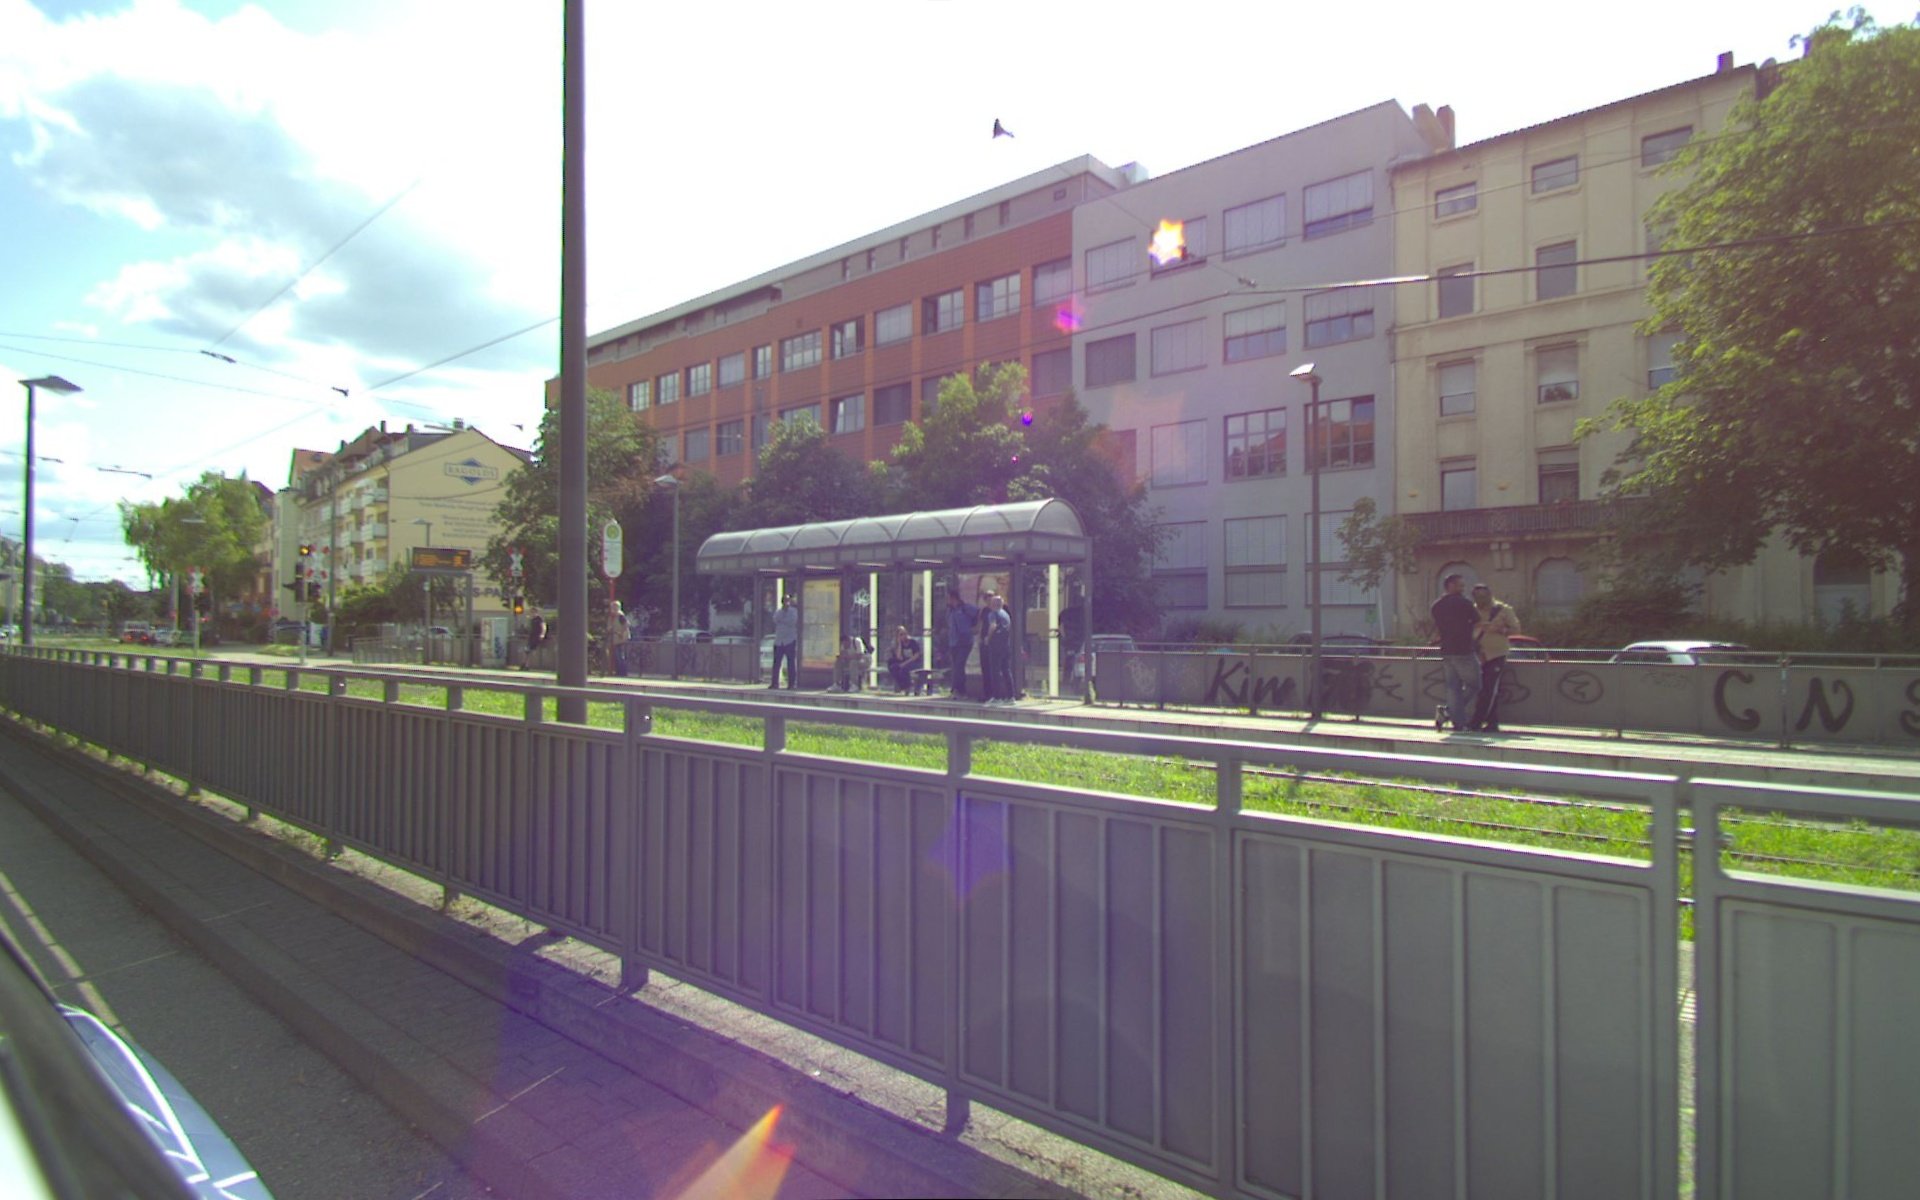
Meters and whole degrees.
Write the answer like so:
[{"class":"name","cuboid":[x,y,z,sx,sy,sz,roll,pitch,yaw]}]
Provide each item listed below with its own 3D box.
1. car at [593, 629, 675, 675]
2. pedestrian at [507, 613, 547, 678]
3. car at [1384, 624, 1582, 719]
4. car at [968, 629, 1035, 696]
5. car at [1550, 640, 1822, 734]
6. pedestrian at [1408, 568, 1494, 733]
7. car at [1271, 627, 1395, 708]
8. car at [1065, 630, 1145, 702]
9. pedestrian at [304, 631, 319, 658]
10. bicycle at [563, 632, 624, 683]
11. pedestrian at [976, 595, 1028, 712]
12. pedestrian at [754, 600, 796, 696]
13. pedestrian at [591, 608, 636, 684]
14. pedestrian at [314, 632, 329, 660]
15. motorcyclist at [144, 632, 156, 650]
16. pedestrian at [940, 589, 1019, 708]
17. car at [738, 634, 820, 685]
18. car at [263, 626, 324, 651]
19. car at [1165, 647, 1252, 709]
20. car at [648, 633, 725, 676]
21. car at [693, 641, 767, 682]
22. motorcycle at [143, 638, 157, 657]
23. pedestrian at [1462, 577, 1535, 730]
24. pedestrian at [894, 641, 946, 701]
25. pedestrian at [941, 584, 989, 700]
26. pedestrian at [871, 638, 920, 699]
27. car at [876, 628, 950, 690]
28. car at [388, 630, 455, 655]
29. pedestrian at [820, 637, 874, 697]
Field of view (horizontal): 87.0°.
[{"class":"car","cuboid":[-12.419,1.950,38.804,1.850,1.671,3.841,0,-2,1]},{"class":"pedestrian","cuboid":[-11.599,1.218,27.131,0.798,1.712,0.659,-1,-2,38]},{"class":"car","cuboid":[10.123,1.331,19.981,1.809,1.652,4.134,1,-2,1]},{"class":"car","cuboid":[1.183,1.624,27.327,1.651,1.540,3.994,-1,0,5]},{"class":"car","cuboid":[12.432,1.433,17.715,1.791,1.402,4.022,-1,-2,0]},{"class":"pedestrian","cuboid":[5.440,0.553,11.246,0.599,1.767,0.626,1,-2,-9]},{"class":"car","cuboid":[7.914,1.380,21.849,1.590,1.580,3.991,-1,-2,7]},{"class":"car","cuboid":[3.573,1.597,25.548,1.651,1.540,3.995,-1,0,4]},{"class":"pedestrian","cuboid":[-41.906,2.880,65.396,0.588,1.723,0.641,-2,-3,42]},{"class":"bicycle","cuboid":[-8.464,1.306,23.353,0.653,1.122,1.880,4,-4,-41]},{"class":"pedestrian","cuboid":[0.606,0.773,14.671,0.556,1.645,0.593,-2,-3,27]},{"class":"pedestrian","cuboid":[-3.434,0.877,18.820,0.623,1.739,0.481,-1,-2,38]},{"class":"pedestrian","cuboid":[-8.064,1.057,23.563,0.798,1.737,0.632,-1,-2,38]},{"class":"pedestrian","cuboid":[-39.408,2.821,62.445,0.481,1.723,0.641,-2,-3,42]},{"class":"motorcyclist","cuboid":[-65.772,3.318,82.179,0.693,1.368,0.654,-1,0,43]},{"class":"pedestrian","cuboid":[0.301,0.731,15.498,1.035,1.756,0.626,-1,-3,38]},{"class":"car","cuboid":[-5.829,1.891,32.866,1.568,1.431,3.302,-1,0,10]},{"class":"car","cuboid":[-57.392,3.301,87.193,4.195,2.029,2.003,2,-3,-40]},{"class":"car","cuboid":[5.845,1.801,24.184,1.774,1.159,3.986,-2,0,11]},{"class":"car","cuboid":[-10.201,2.005,38.026,1.629,1.508,3.995,0,-2,3]},{"class":"car","cuboid":[-7.925,2.102,35.140,1.583,1.314,3.247,0,-2,5]},{"class":"motorcycle","cuboid":[-65.776,3.855,82.161,2.010,1.414,0.626,-1,0,43]},{"class":"pedestrian","cuboid":[6.192,0.603,11.631,0.624,1.687,0.600,-1,-2,41]},{"class":"pedestrian","cuboid":[-0.685,1.219,17.403,0.562,1.002,0.698,-1,-4,38]},{"class":"pedestrian","cuboid":[0.079,0.680,16.485,0.623,1.841,0.438,-1,-3,38]},{"class":"pedestrian","cuboid":[-1.128,1.194,17.831,0.562,1.039,0.647,-1,-4,38]},{"class":"car","cuboid":[-1.309,1.680,29.701,1.651,1.652,3.994,1,-2,5]},{"class":"car","cuboid":[-34.980,2.768,65.794,3.557,1.491,1.777,2,-6,-43]},{"class":"pedestrian","cuboid":[-2.017,1.189,18.069,0.623,1.039,0.712,-1,-4,38]}]
